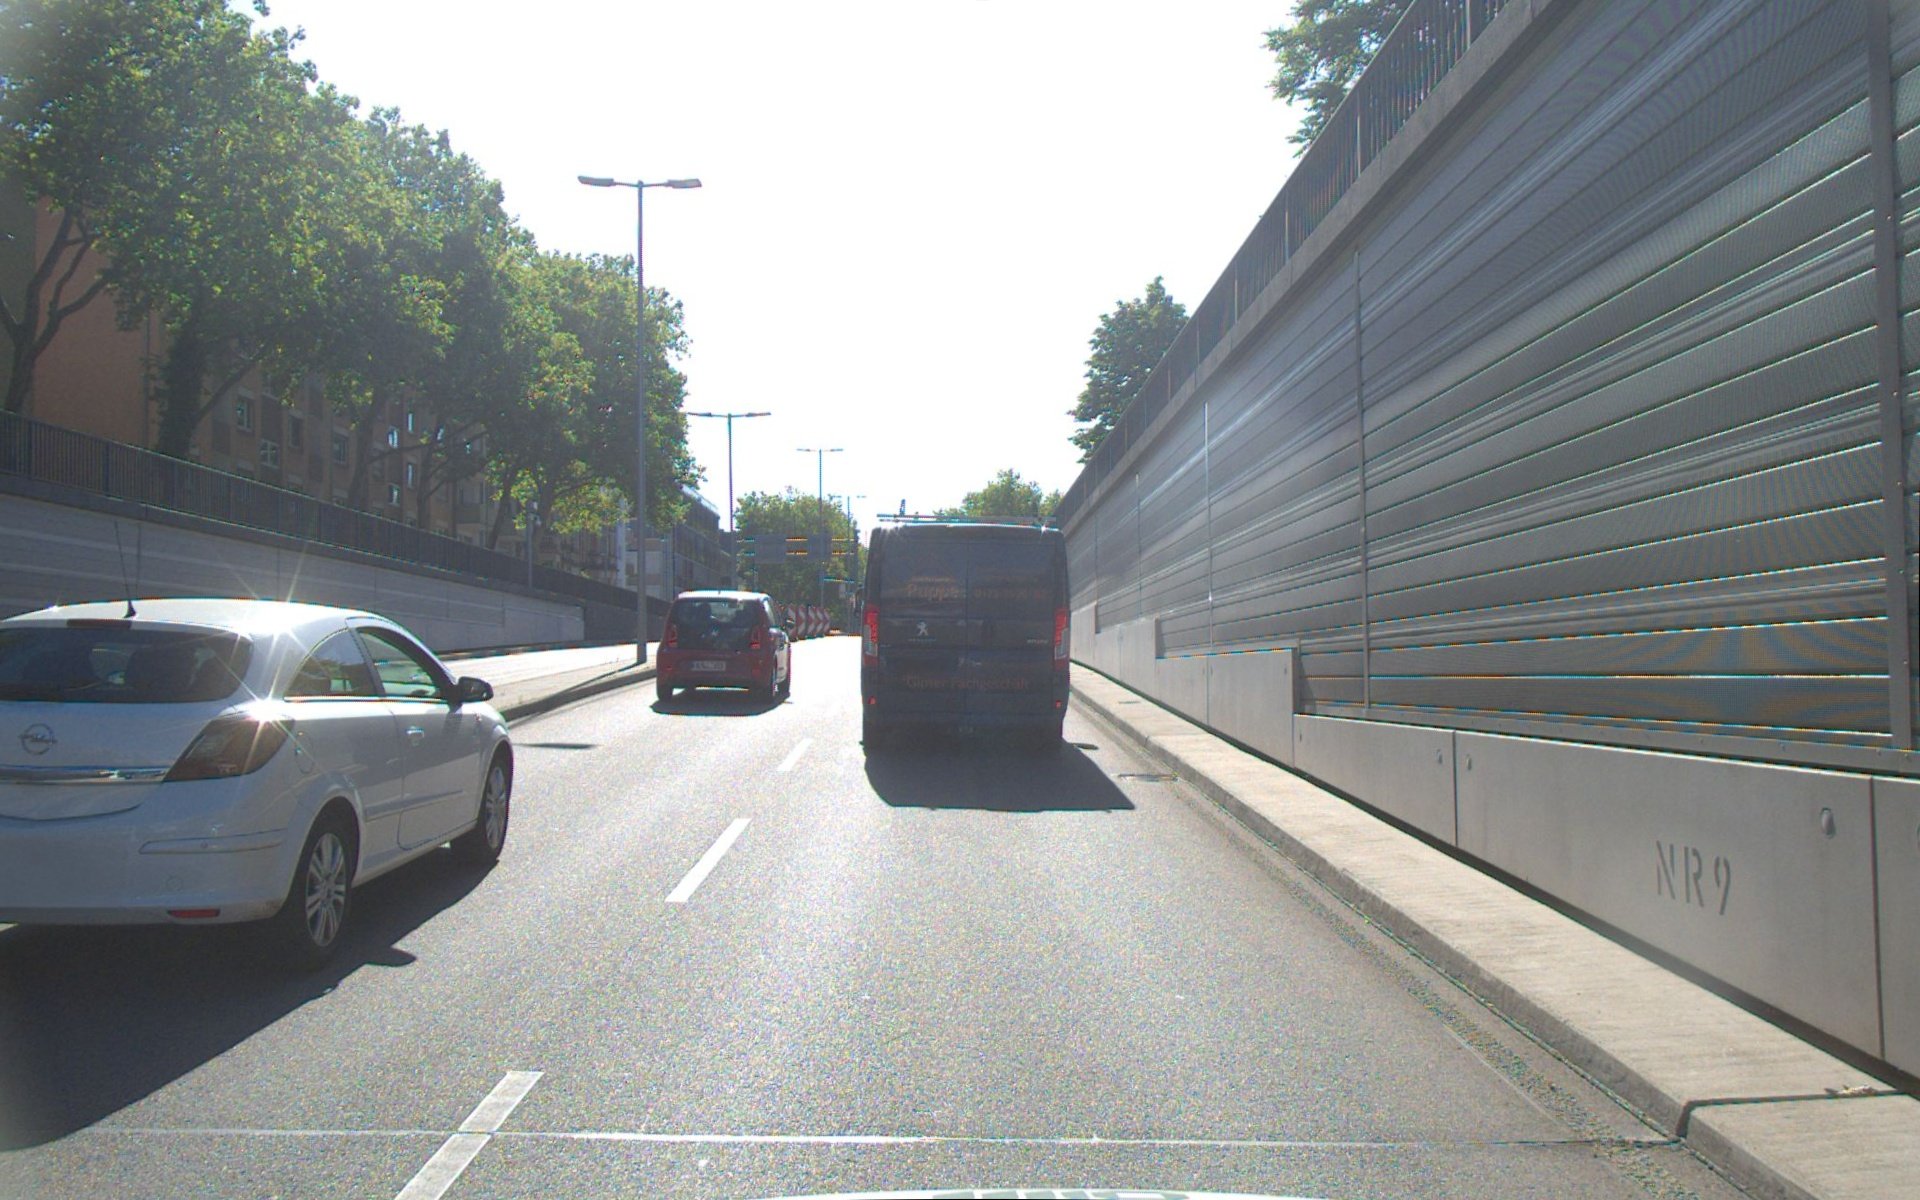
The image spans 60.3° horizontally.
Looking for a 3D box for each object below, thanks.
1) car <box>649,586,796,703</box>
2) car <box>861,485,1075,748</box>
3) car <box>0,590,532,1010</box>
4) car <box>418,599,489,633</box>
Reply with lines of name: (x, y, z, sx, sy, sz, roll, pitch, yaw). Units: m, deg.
car: (-3.279, 0.578, 23.373, 1.655, 1.509, 3.318, 1, 0, -1)
car: (0.048, 0.178, 17.340, 1.989, 2.445, 3.971, 0, -1, -1)
car: (-3.231, 0.702, 7.576, 1.586, 1.428, 3.851, 1, -1, -1)
car: (-22.773, 0.746, 74.477, 1.953, 1.413, 4.170, 1, -2, -1)
